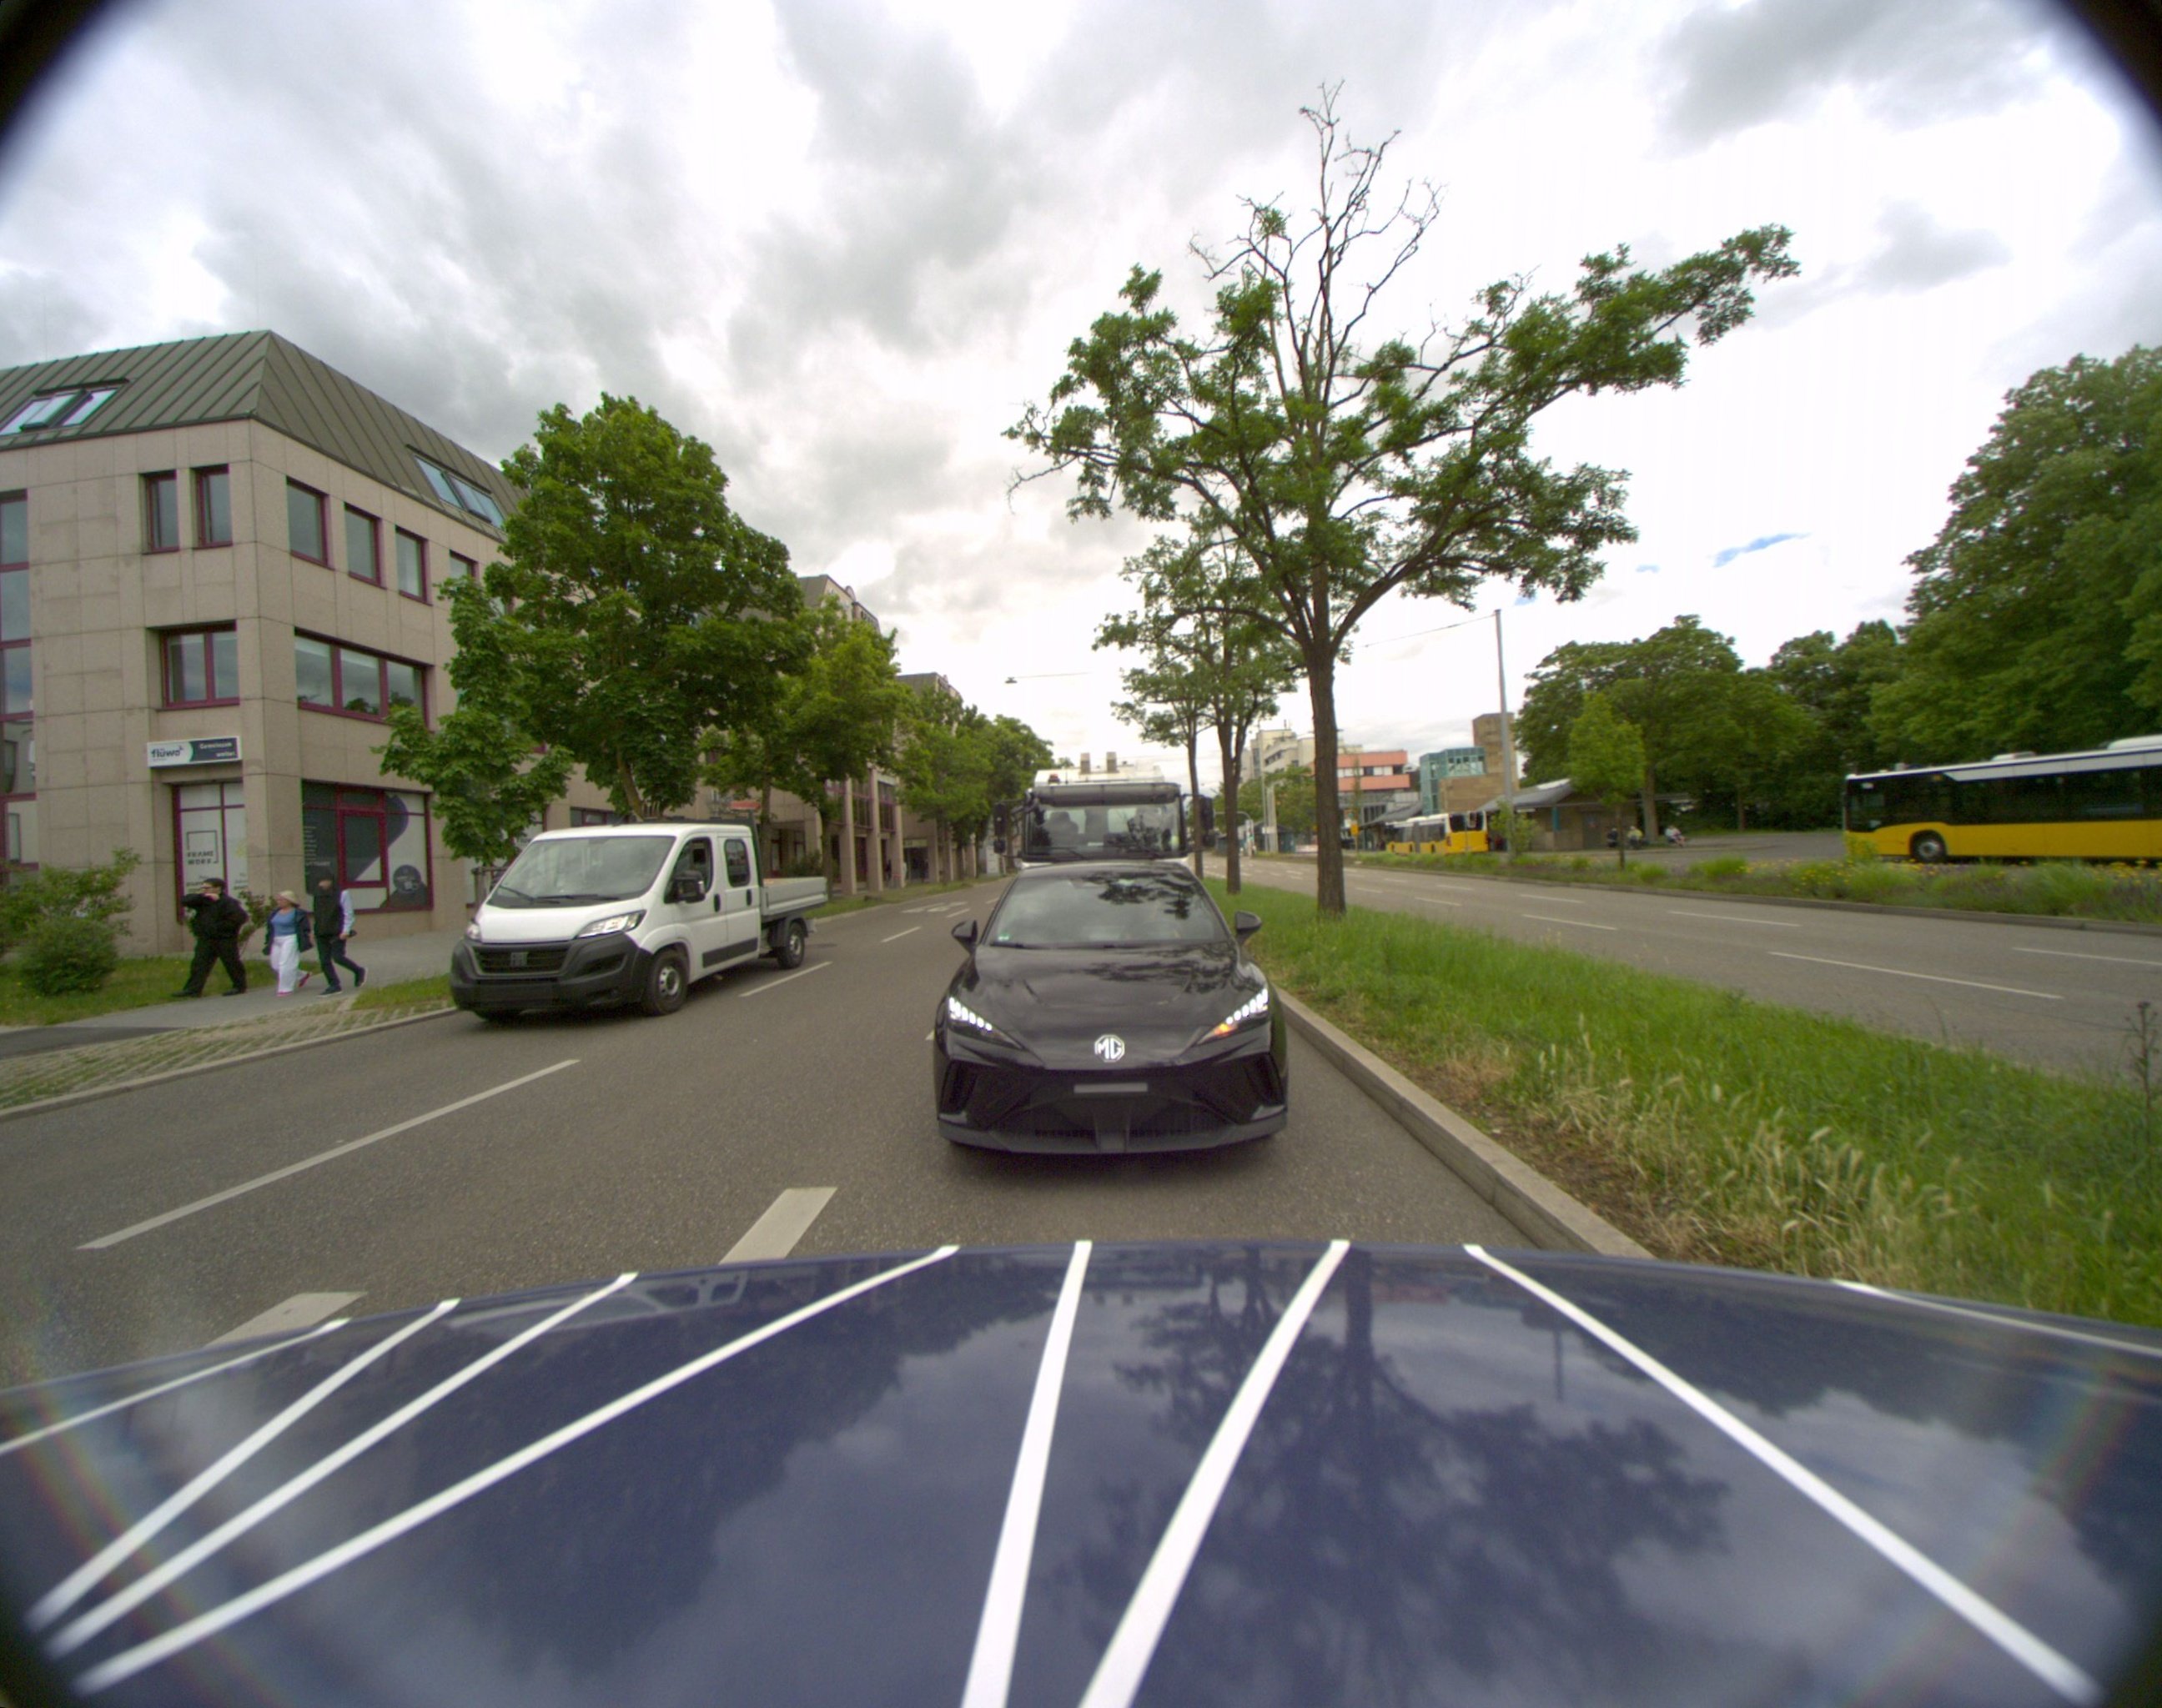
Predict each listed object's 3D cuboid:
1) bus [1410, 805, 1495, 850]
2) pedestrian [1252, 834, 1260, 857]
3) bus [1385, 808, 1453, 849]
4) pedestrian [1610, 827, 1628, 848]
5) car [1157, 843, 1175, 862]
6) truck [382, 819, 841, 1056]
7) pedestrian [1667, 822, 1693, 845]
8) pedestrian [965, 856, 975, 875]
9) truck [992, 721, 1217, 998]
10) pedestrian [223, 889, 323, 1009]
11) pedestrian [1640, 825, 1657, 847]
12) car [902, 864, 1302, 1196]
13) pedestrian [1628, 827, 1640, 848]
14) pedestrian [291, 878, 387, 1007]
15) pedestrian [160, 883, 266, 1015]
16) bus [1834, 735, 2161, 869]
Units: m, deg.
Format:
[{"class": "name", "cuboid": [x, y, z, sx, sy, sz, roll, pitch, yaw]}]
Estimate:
[{"class": "bus", "cuboid": [26.146, -1.745, 54.020, 2.887, 2.793, 9.182, -3, 0, 10]}, {"class": "pedestrian", "cuboid": [21.436, -1.071, 93.193, 0.903, 2.772, 1.148, -2, 1, 13]}, {"class": "bus", "cuboid": [27.613, -1.973, 62.476, 2.887, 2.985, 9.182, -3, 0, 10]}, {"class": "pedestrian", "cuboid": [30.854, -0.958, 43.607, 0.599, 1.155, 0.743, -2, 1, 16]}, {"class": "car", "cuboid": [9.542, -0.202, 85.210, 1.726, 2.002, 4.001, -3, 0, 3]}, {"class": "truck", "cuboid": [-5.453, 0.793, 10.234, 2.216, 2.190, 5.845, -3, 0, 3]}, {"class": "pedestrian", "cuboid": [32.003, -1.102, 40.633, 0.650, 1.165, 0.925, -2, 1, 1]}, {"class": "pedestrian", "cuboid": [-10.117, 1.038, 69.227, 0.719, 1.737, 0.832, -2, 1, 1]}, {"class": "truck", "cuboid": [0.333, 0.057, 12.737, 2.544, 3.187, 7.368, -3, 0, 1]}, {"class": "pedestrian", "cuboid": [-11.798, 1.367, 11.120, 0.642, 1.637, 0.677, -3, 1, 1]}, {"class": "pedestrian", "cuboid": [30.747, -0.974, 41.187, 0.598, 1.155, 0.744, -2, 1, 26]}, {"class": "car", "cuboid": [0.131, 0.863, 5.593, 1.827, 1.430, 4.000, -3, 0, 1]}, {"class": "pedestrian", "cuboid": [30.261, -0.911, 41.577, 0.367, 1.160, 0.899, -2, 1, 26]}, {"class": "pedestrian", "cuboid": [-10.942, 1.281, 11.228, 0.642, 1.795, 0.677, -3, 1, 1]}, {"class": "pedestrian", "cuboid": [-12.534, 1.345, 10.994, 0.642, 1.795, 0.677, -3, 1, 1]}, {"class": "bus", "cuboid": [25.953, -1.247, 19.899, 2.888, 2.985, 10.397, -3, 0, 6]}]
